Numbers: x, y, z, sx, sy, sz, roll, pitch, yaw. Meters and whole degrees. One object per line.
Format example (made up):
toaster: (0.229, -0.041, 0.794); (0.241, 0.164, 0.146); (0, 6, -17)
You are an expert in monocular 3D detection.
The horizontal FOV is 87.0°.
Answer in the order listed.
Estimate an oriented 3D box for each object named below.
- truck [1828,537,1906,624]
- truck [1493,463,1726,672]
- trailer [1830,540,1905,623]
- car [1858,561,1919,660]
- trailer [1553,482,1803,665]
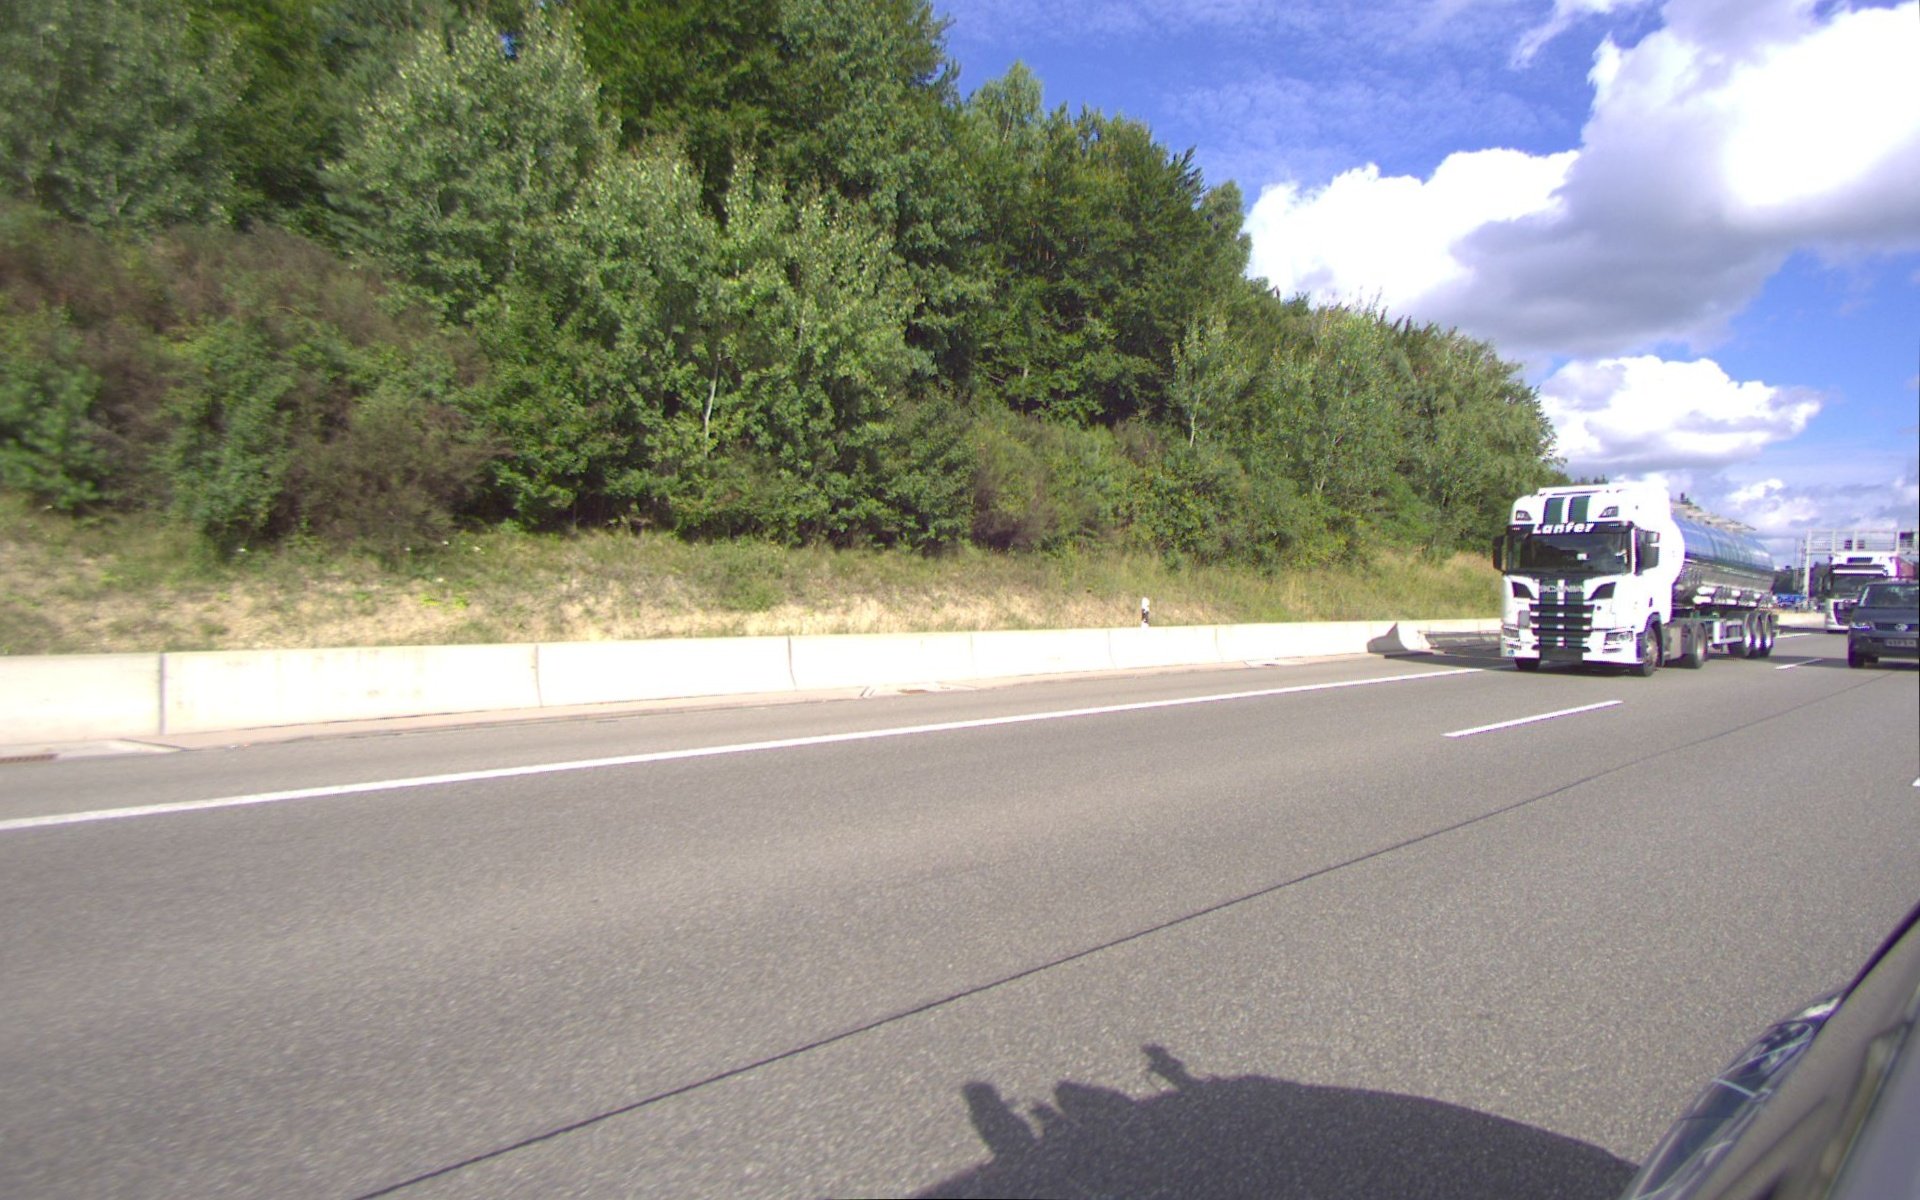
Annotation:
truck: (45.641, -0.911, 50.910); (2.773, 4.096, 5.683); (1, 0, 43)
truck: (14.066, -0.605, 21.733); (5.976, 3.871, 2.653); (1, 0, -42)
trailer: (50.024, -0.879, 55.689); (2.773, 4.096, 13.500); (1, 0, 43)
car: (22.505, 0.224, 23.501); (4.845, 2.136, 1.852); (0, 0, -41)
trailer: (18.753, -0.524, 25.920); (11.654, 3.814, 2.653); (1, 0, -42)
